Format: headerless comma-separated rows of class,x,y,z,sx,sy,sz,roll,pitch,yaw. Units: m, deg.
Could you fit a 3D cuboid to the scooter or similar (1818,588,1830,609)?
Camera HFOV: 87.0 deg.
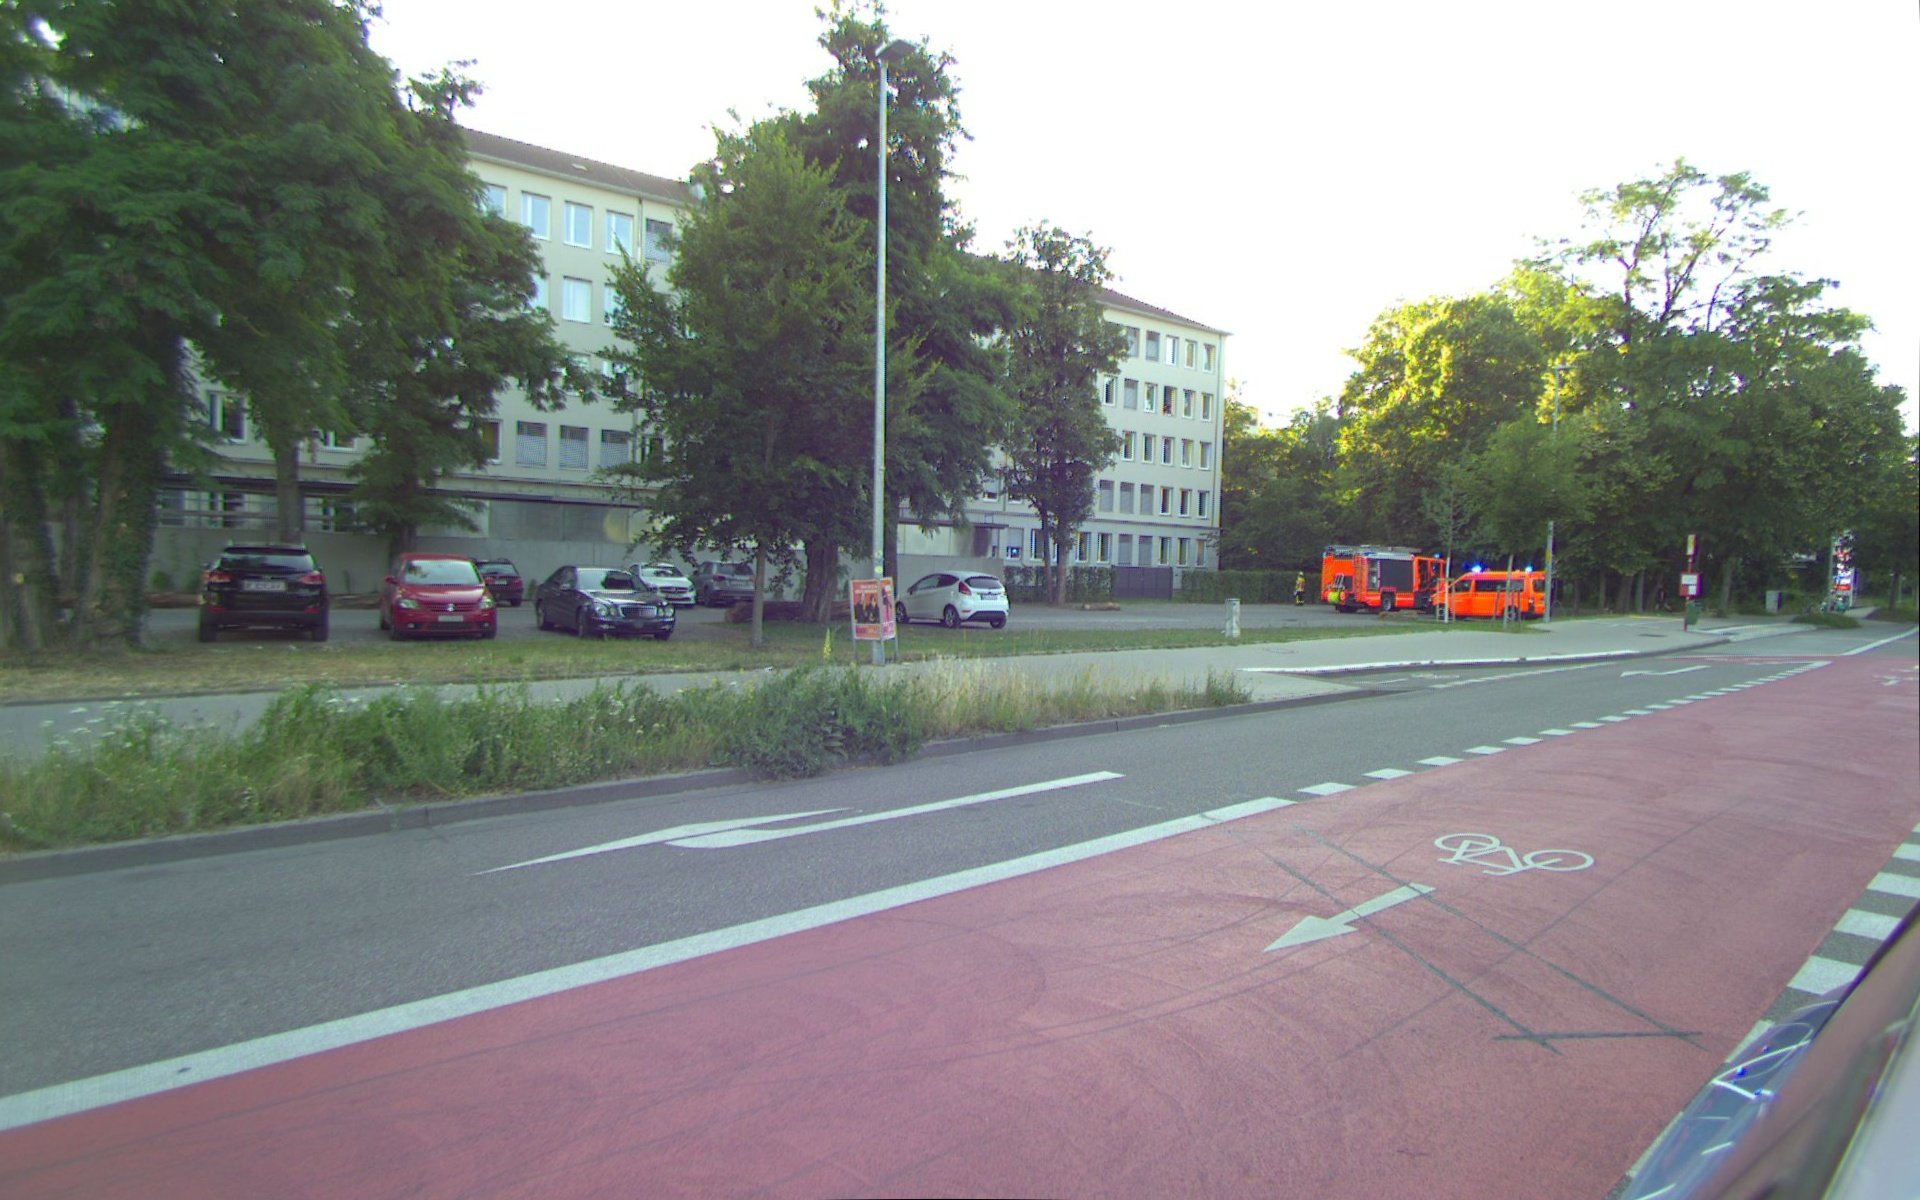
scooter or similar,54.814,-0.085,64.210,0.482,1.297,1.123,5,3,41

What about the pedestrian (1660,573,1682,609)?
pedestrian,41.514,-0.515,59.107,0.710,2.038,0.697,1,2,-25

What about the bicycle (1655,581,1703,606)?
bicycle,42.096,-0.393,59.293,0.816,1.109,1.975,4,7,-29

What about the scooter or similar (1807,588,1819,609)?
scooter or similar,53.175,-0.098,63.061,0.482,1.297,1.213,5,3,40

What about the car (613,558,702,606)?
car,-10.143,-0.625,33.730,1.798,1.494,4.002,0,1,-33

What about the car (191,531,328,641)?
car,-12.397,-0.279,17.893,1.802,1.715,3.910,0,1,-36

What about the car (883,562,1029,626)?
car,-0.178,-0.205,27.027,1.876,1.556,3.999,0,2,-37

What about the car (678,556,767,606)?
car,-8.353,-0.691,35.426,1.875,1.636,4.004,-1,2,-32

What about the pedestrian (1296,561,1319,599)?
pedestrian,19.028,-1.089,55.459,0.810,2.038,0.774,1,2,-32

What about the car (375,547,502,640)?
car,-10.153,-0.194,19.552,1.751,1.580,4.003,0,2,-34

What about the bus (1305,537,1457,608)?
bus,20.677,-1.323,49.515,7.810,3.236,2.999,0,1,-34

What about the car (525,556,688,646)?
car,-7.445,-0.084,21.013,1.866,1.465,4.584,-2,6,-37

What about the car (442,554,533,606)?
car,-14.462,-0.629,30.874,1.866,1.460,4.001,0,2,-35

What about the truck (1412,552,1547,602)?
truck,36.659,-1.725,71.864,2.703,3.250,8.683,1,2,-24

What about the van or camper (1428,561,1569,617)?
van or camper,23.034,-0.493,43.465,2.251,2.272,4.831,0,1,-34
